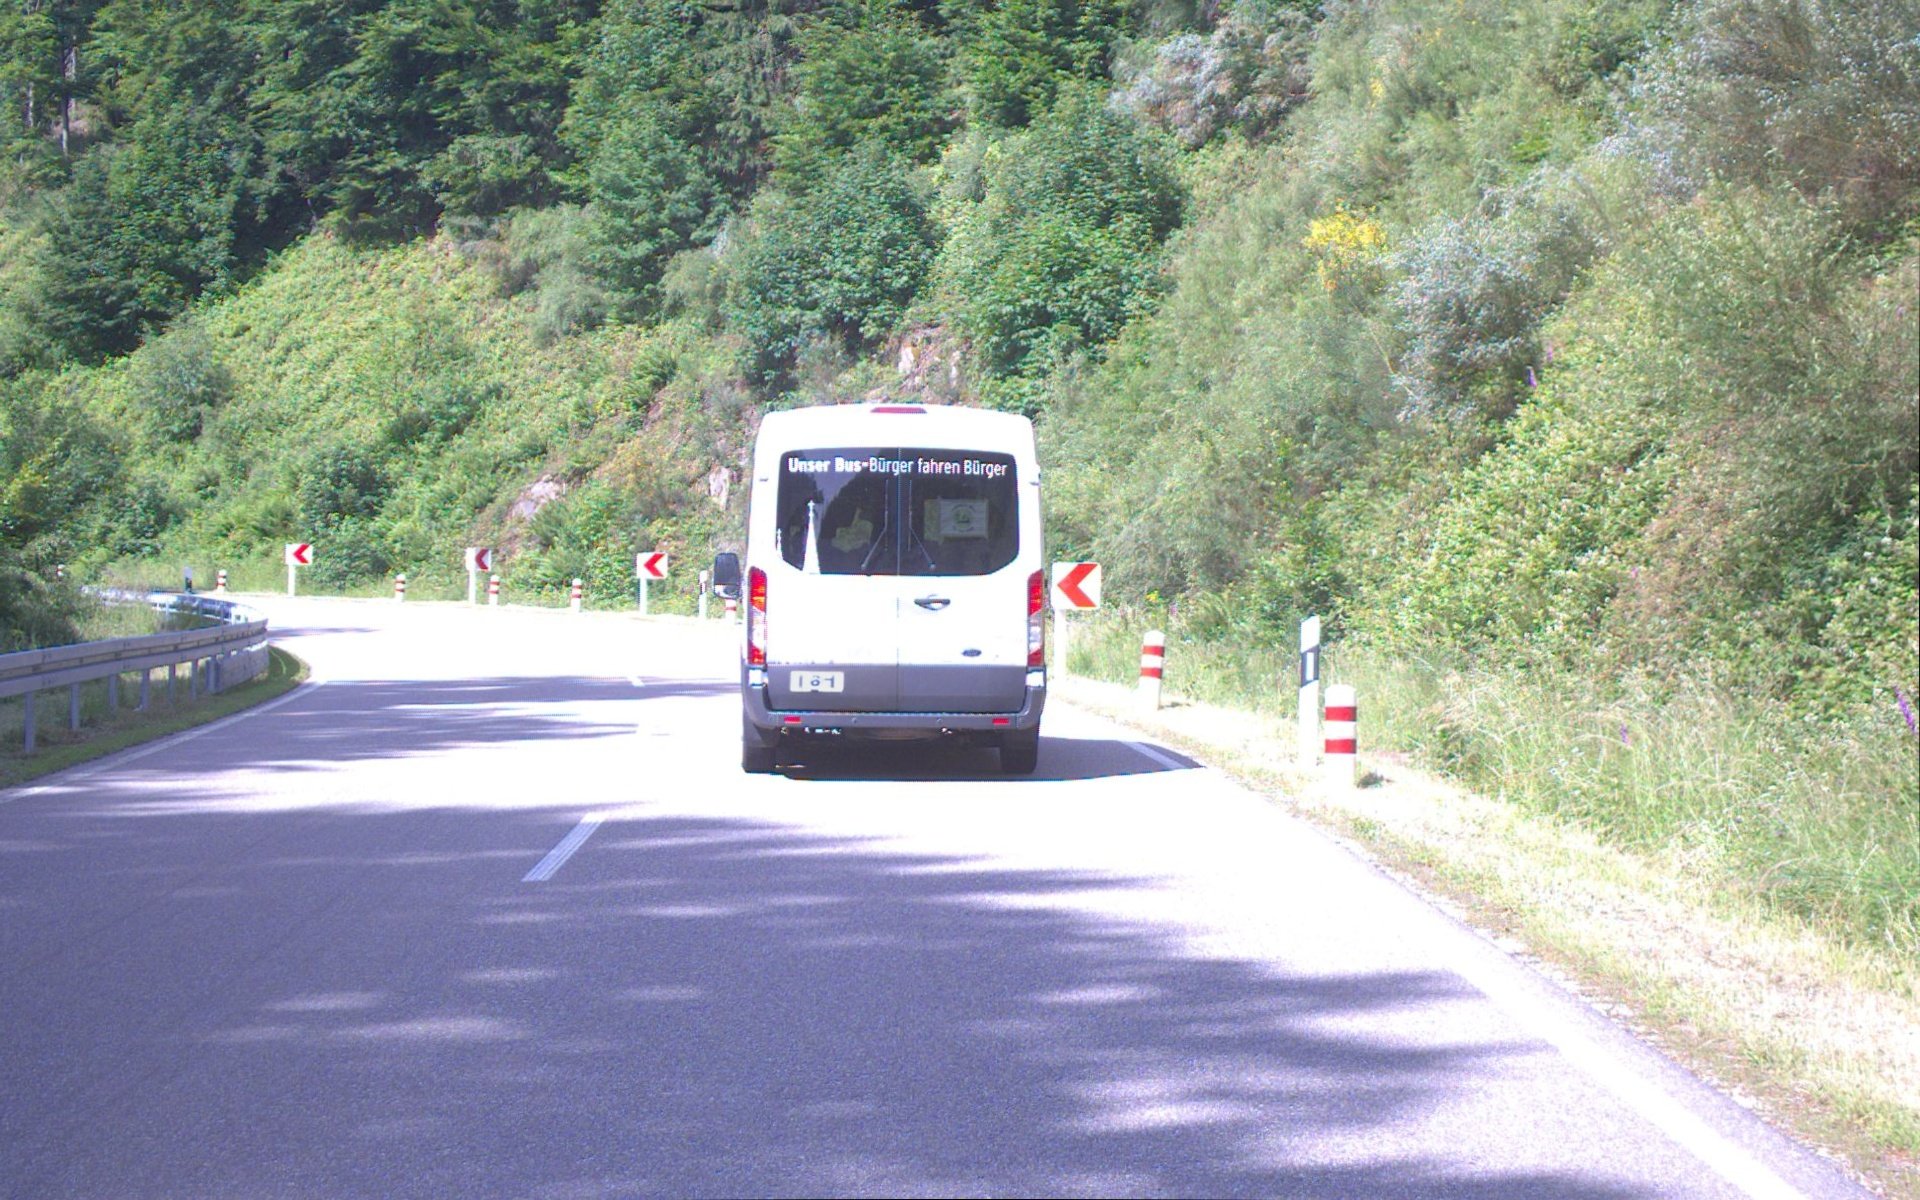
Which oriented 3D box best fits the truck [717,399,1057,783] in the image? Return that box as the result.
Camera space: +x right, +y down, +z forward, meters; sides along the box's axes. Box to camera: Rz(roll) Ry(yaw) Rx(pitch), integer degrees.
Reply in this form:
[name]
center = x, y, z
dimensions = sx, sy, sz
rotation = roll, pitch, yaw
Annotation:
[truck]
center = -0.635, -0.087, 24.486
dimensions = 2.083, 2.451, 4.876
rotation = 0, 1, -5
